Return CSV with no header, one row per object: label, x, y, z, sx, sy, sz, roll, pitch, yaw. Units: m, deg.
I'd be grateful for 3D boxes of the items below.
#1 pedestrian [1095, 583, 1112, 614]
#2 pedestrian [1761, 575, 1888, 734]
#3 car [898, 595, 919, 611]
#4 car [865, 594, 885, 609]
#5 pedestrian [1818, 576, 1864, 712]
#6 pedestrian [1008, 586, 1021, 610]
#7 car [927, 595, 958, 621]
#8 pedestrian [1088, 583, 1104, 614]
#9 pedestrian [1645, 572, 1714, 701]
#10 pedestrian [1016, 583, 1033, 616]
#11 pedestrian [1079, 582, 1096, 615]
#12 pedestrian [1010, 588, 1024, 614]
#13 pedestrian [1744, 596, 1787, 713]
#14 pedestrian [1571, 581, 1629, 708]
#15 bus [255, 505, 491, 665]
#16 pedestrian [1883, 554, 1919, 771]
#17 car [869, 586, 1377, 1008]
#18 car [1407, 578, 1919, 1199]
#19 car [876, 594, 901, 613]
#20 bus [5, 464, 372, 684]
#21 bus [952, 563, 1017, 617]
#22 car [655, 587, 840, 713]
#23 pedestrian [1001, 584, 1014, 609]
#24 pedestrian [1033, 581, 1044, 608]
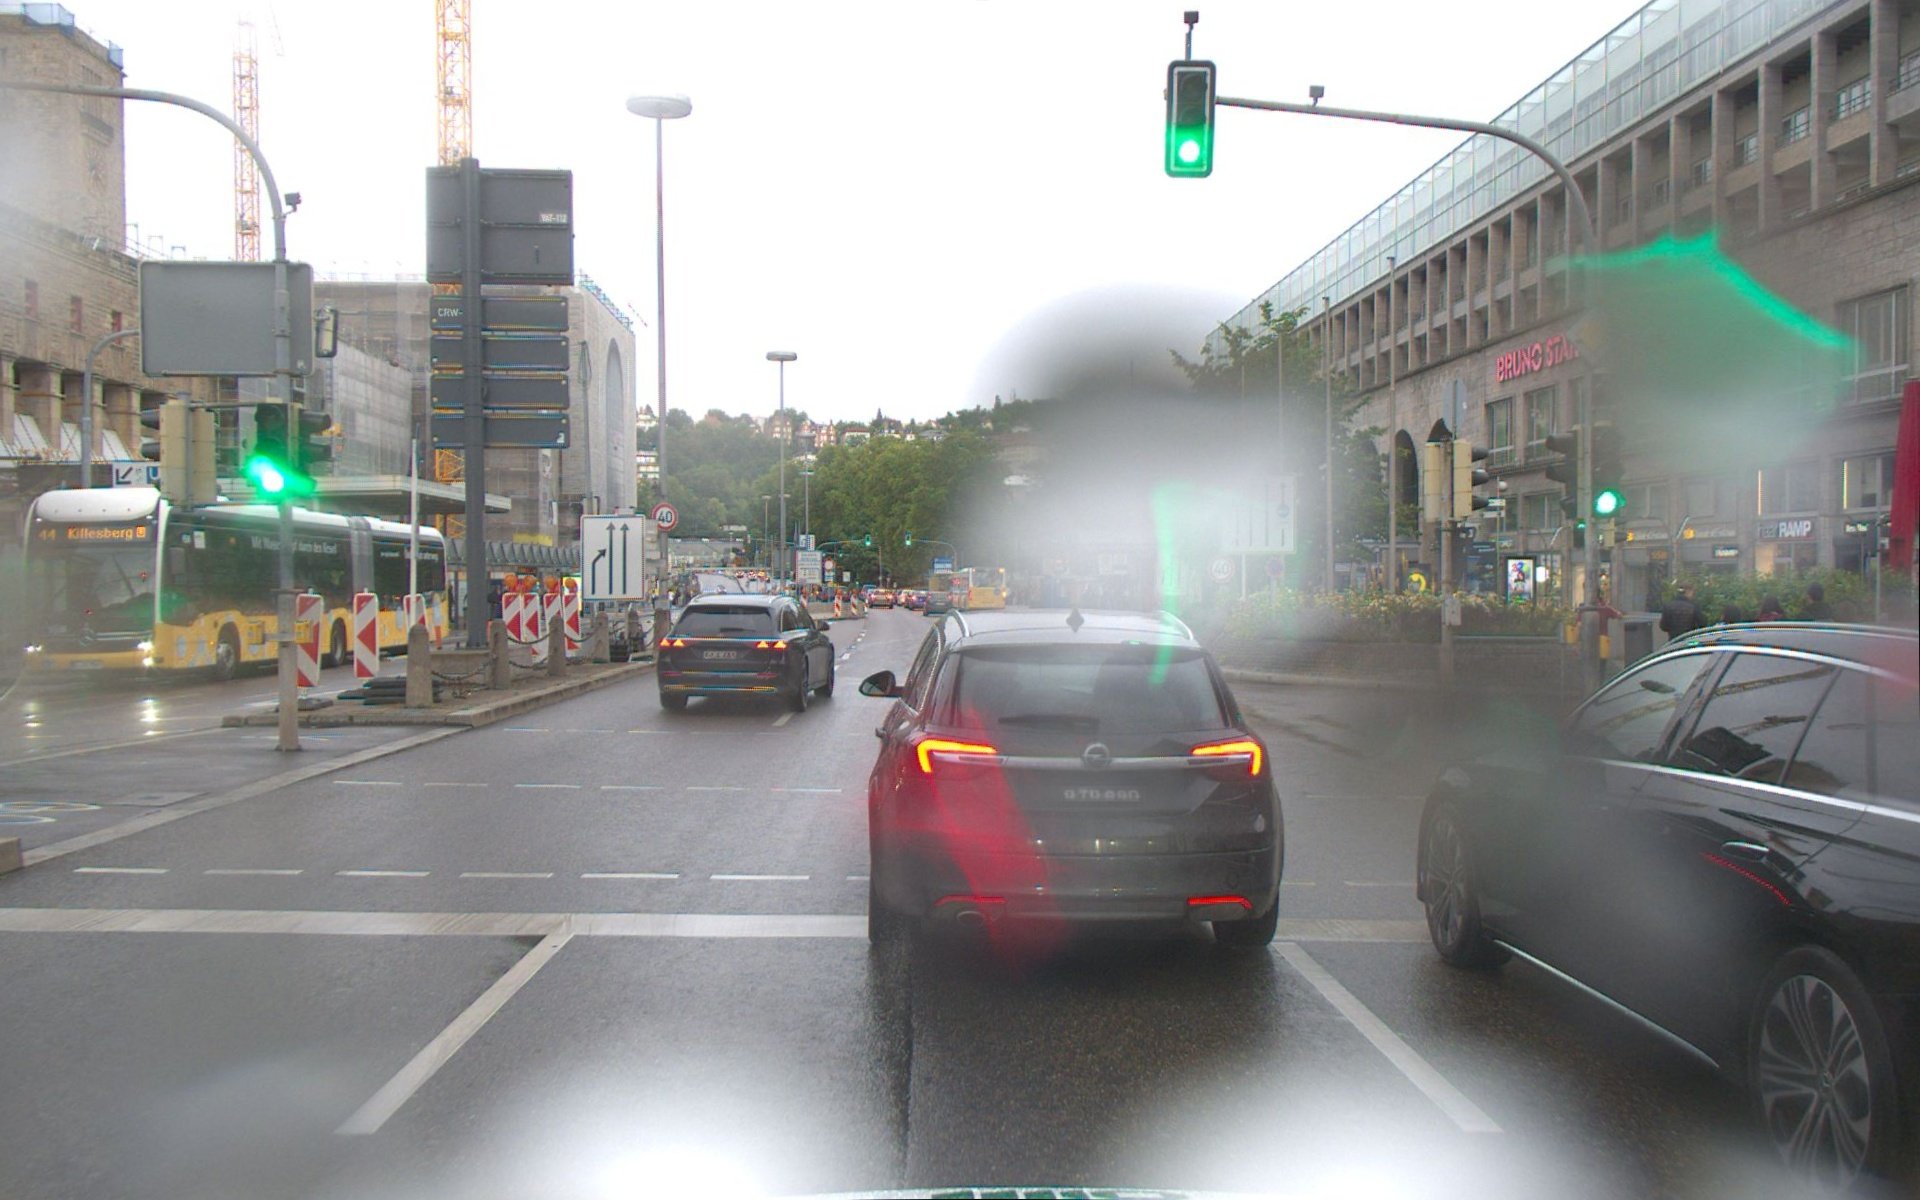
pedestrian,7.923,-0.091,91.316,0.748,1.720,0.824,1,-1,-5
pedestrian,10.067,0.627,19.271,1.074,1.782,0.653,-2,-1,-4
car,-4.551,0.255,145.857,1.808,1.422,3.563,1,0,-1
car,-8.092,0.151,158.126,1.723,1.422,3.563,1,-1,-1
pedestrian,11.747,0.579,22.059,0.472,1.782,0.665,-2,-1,27
pedestrian,5.075,-0.165,154.040,1.174,2.186,1.228,1,-1,0
car,-1.043,0.484,98.023,1.808,1.422,3.666,1,-1,-1
pedestrian,7.616,-0.087,92.392,0.748,1.720,0.824,1,-1,-5
pedestrian,9.948,0.498,22.873,0.740,1.748,0.466,1,-1,-5
pedestrian,4.897,-0.058,125.595,1.174,2.478,1.228,1,-1,0
pedestrian,6.782,-0.082,87.872,0.748,1.720,0.824,1,-1,-5
pedestrian,4.787,0.090,139.129,1.174,2.186,1.228,1,-1,0
pedestrian,10.835,0.727,22.252,0.456,1.544,0.449,0,-1,33
pedestrian,9.156,0.624,23.643,0.560,1.783,0.676,0,-1,42
bus,-15.039,-0.305,43.385,2.614,3.665,10.209,1,-1,-1
pedestrian,8.164,0.517,13.740,0.766,1.787,0.501,0,-1,42
car,0.555,0.741,8.043,1.837,1.512,3.999,1,-1,-1
car,3.001,0.743,5.253,1.757,1.528,4.626,1,-1,-2
car,-5.550,0.282,128.008,1.808,1.422,3.563,1,-1,-1
bus,-14.864,-0.398,33.103,2.614,3.665,10.236,1,-1,-1
bus,1.598,-0.574,117.690,4.089,3.530,14.650,1,-1,-1
car,-2.742,0.625,22.354,1.817,1.495,4.587,1,-1,1
pedestrian,4.305,-0.329,149.713,1.174,2.186,1.228,1,-1,0
pedestrian,5.074,-0.370,106.443,0.644,1.720,0.609,1,-1,0
